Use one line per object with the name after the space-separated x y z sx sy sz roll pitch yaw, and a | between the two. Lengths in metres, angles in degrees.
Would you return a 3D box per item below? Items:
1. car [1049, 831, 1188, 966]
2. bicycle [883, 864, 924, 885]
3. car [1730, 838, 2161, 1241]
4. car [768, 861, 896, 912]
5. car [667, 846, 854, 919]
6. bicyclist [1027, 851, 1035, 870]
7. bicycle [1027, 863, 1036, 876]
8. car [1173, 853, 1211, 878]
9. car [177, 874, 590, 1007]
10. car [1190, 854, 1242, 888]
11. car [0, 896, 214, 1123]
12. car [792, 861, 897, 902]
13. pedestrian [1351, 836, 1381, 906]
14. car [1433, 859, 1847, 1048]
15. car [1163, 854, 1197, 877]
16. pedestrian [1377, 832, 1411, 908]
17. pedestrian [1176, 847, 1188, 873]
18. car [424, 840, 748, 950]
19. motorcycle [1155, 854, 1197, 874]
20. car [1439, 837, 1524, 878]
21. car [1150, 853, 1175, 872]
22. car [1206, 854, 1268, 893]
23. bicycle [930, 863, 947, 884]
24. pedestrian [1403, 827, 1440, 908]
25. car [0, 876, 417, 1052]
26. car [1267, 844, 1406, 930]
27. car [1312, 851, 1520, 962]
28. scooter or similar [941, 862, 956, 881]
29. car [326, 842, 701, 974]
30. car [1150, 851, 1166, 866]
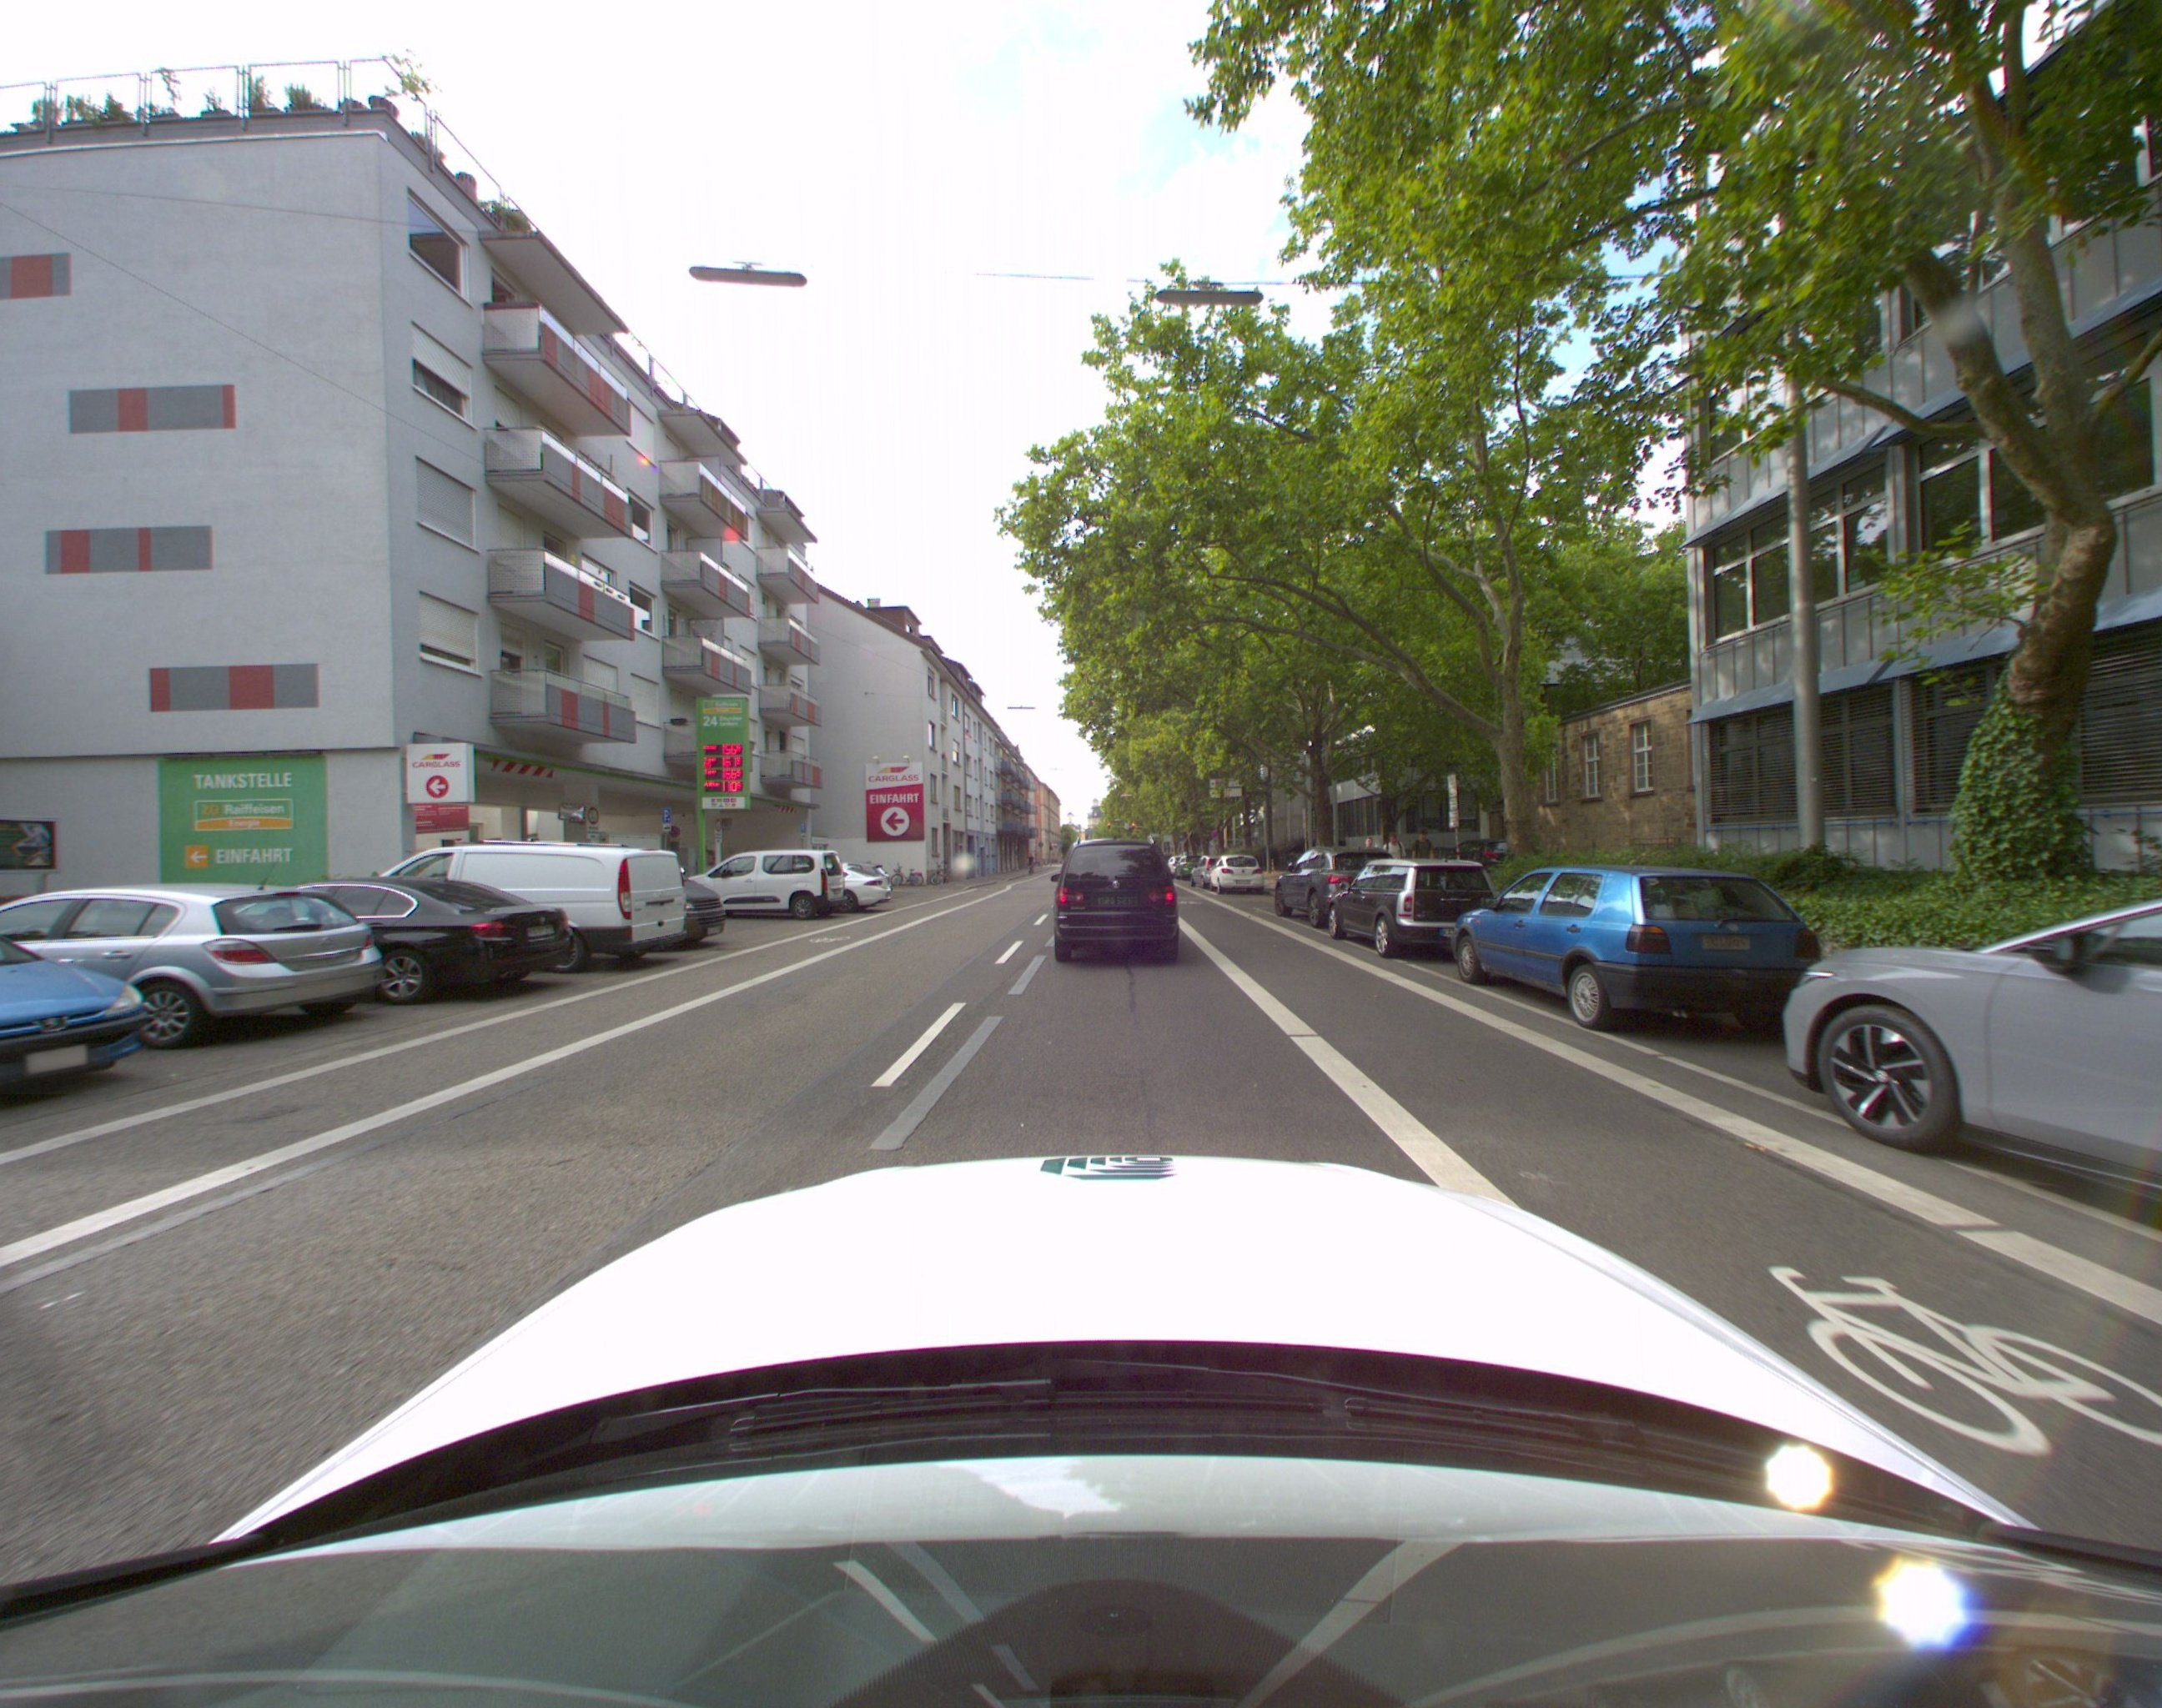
0.463 0.590 12.621 1.807 1.766 3.736 -1 0 -1 | car
-9.063 1.058 41.663 2.000 1.034 0.410 0 1 3 | bicycle
4.917 0.690 2.690 1.722 1.517 4.872 -1 0 1 | car
-7.426 0.952 24.462 3.332 1.497 1.596 0 0 -1 | car
-8.599 0.747 22.122 4.293 1.870 1.824 0 0 0 | car
-4.210 0.575 68.925 0.651 1.611 0.656 0 -3 -1 | bicyclist
-4.142 1.294 68.627 0.629 1.034 2.014 0 -3 -1 | bicycle
6.435 0.650 47.464 1.637 1.413 3.413 0 0 -2 | car
-8.567 1.016 10.257 3.669 1.444 1.754 0 0 1 | car
5.931 0.713 36.045 1.637 1.413 3.413 0 0 -2 | car
-9.067 1.068 5.897 3.669 1.426 1.753 0 0 0 | car
-8.493 0.975 29.387 3.332 1.402 1.503 0 0 -1 | car
7.067 0.411 20.210 0.585 1.701 0.508 0 1 2 | pedestrian
5.174 0.773 8.284 1.615 1.386 4.003 1 0 3 | car
6.375 0.728 52.676 1.637 1.395 3.510 0 0 -2 | car
7.715 0.382 20.101 0.585 1.838 0.693 0 1 3 | pedestrian
7.144 0.398 57.535 0.764 1.831 0.516 -1 0 2 | pedestrian
-9.226 0.727 15.513 4.899 1.903 2.000 1 0 1 | car
6.583 0.710 56.334 2.827 1.325 0.765 -1 0 1 | motorcycle
15.327 0.069 31.371 1.466 1.458 3.919 0 2 2 | car
6.736 0.679 67.530 1.637 1.487 3.510 0 0 -2 | car
5.953 0.704 31.508 1.669 1.394 4.463 0 0 2 | car
-7.552 1.016 43.271 0.629 1.034 2.014 0 0 -2 | bicycle
8.383 0.313 20.066 0.640 1.975 0.693 0 1 3 | pedestrian
-9.227 1.006 8.160 3.669 1.485 1.753 0 0 0 | car
5.459 0.624 17.999 1.663 1.640 4.503 1 0 0 | car
5.151 0.720 13.185 1.624 1.470 4.318 -1 0 1 | car
-7.479 1.010 46.021 0.630 1.034 2.012 0 -2 -4 | scooter or similar
-8.792 0.781 12.931 4.508 1.878 2.048 0 0 2 | car
9.657 0.544 102.425 1.781 1.772 4.002 -1 0 2 | car
